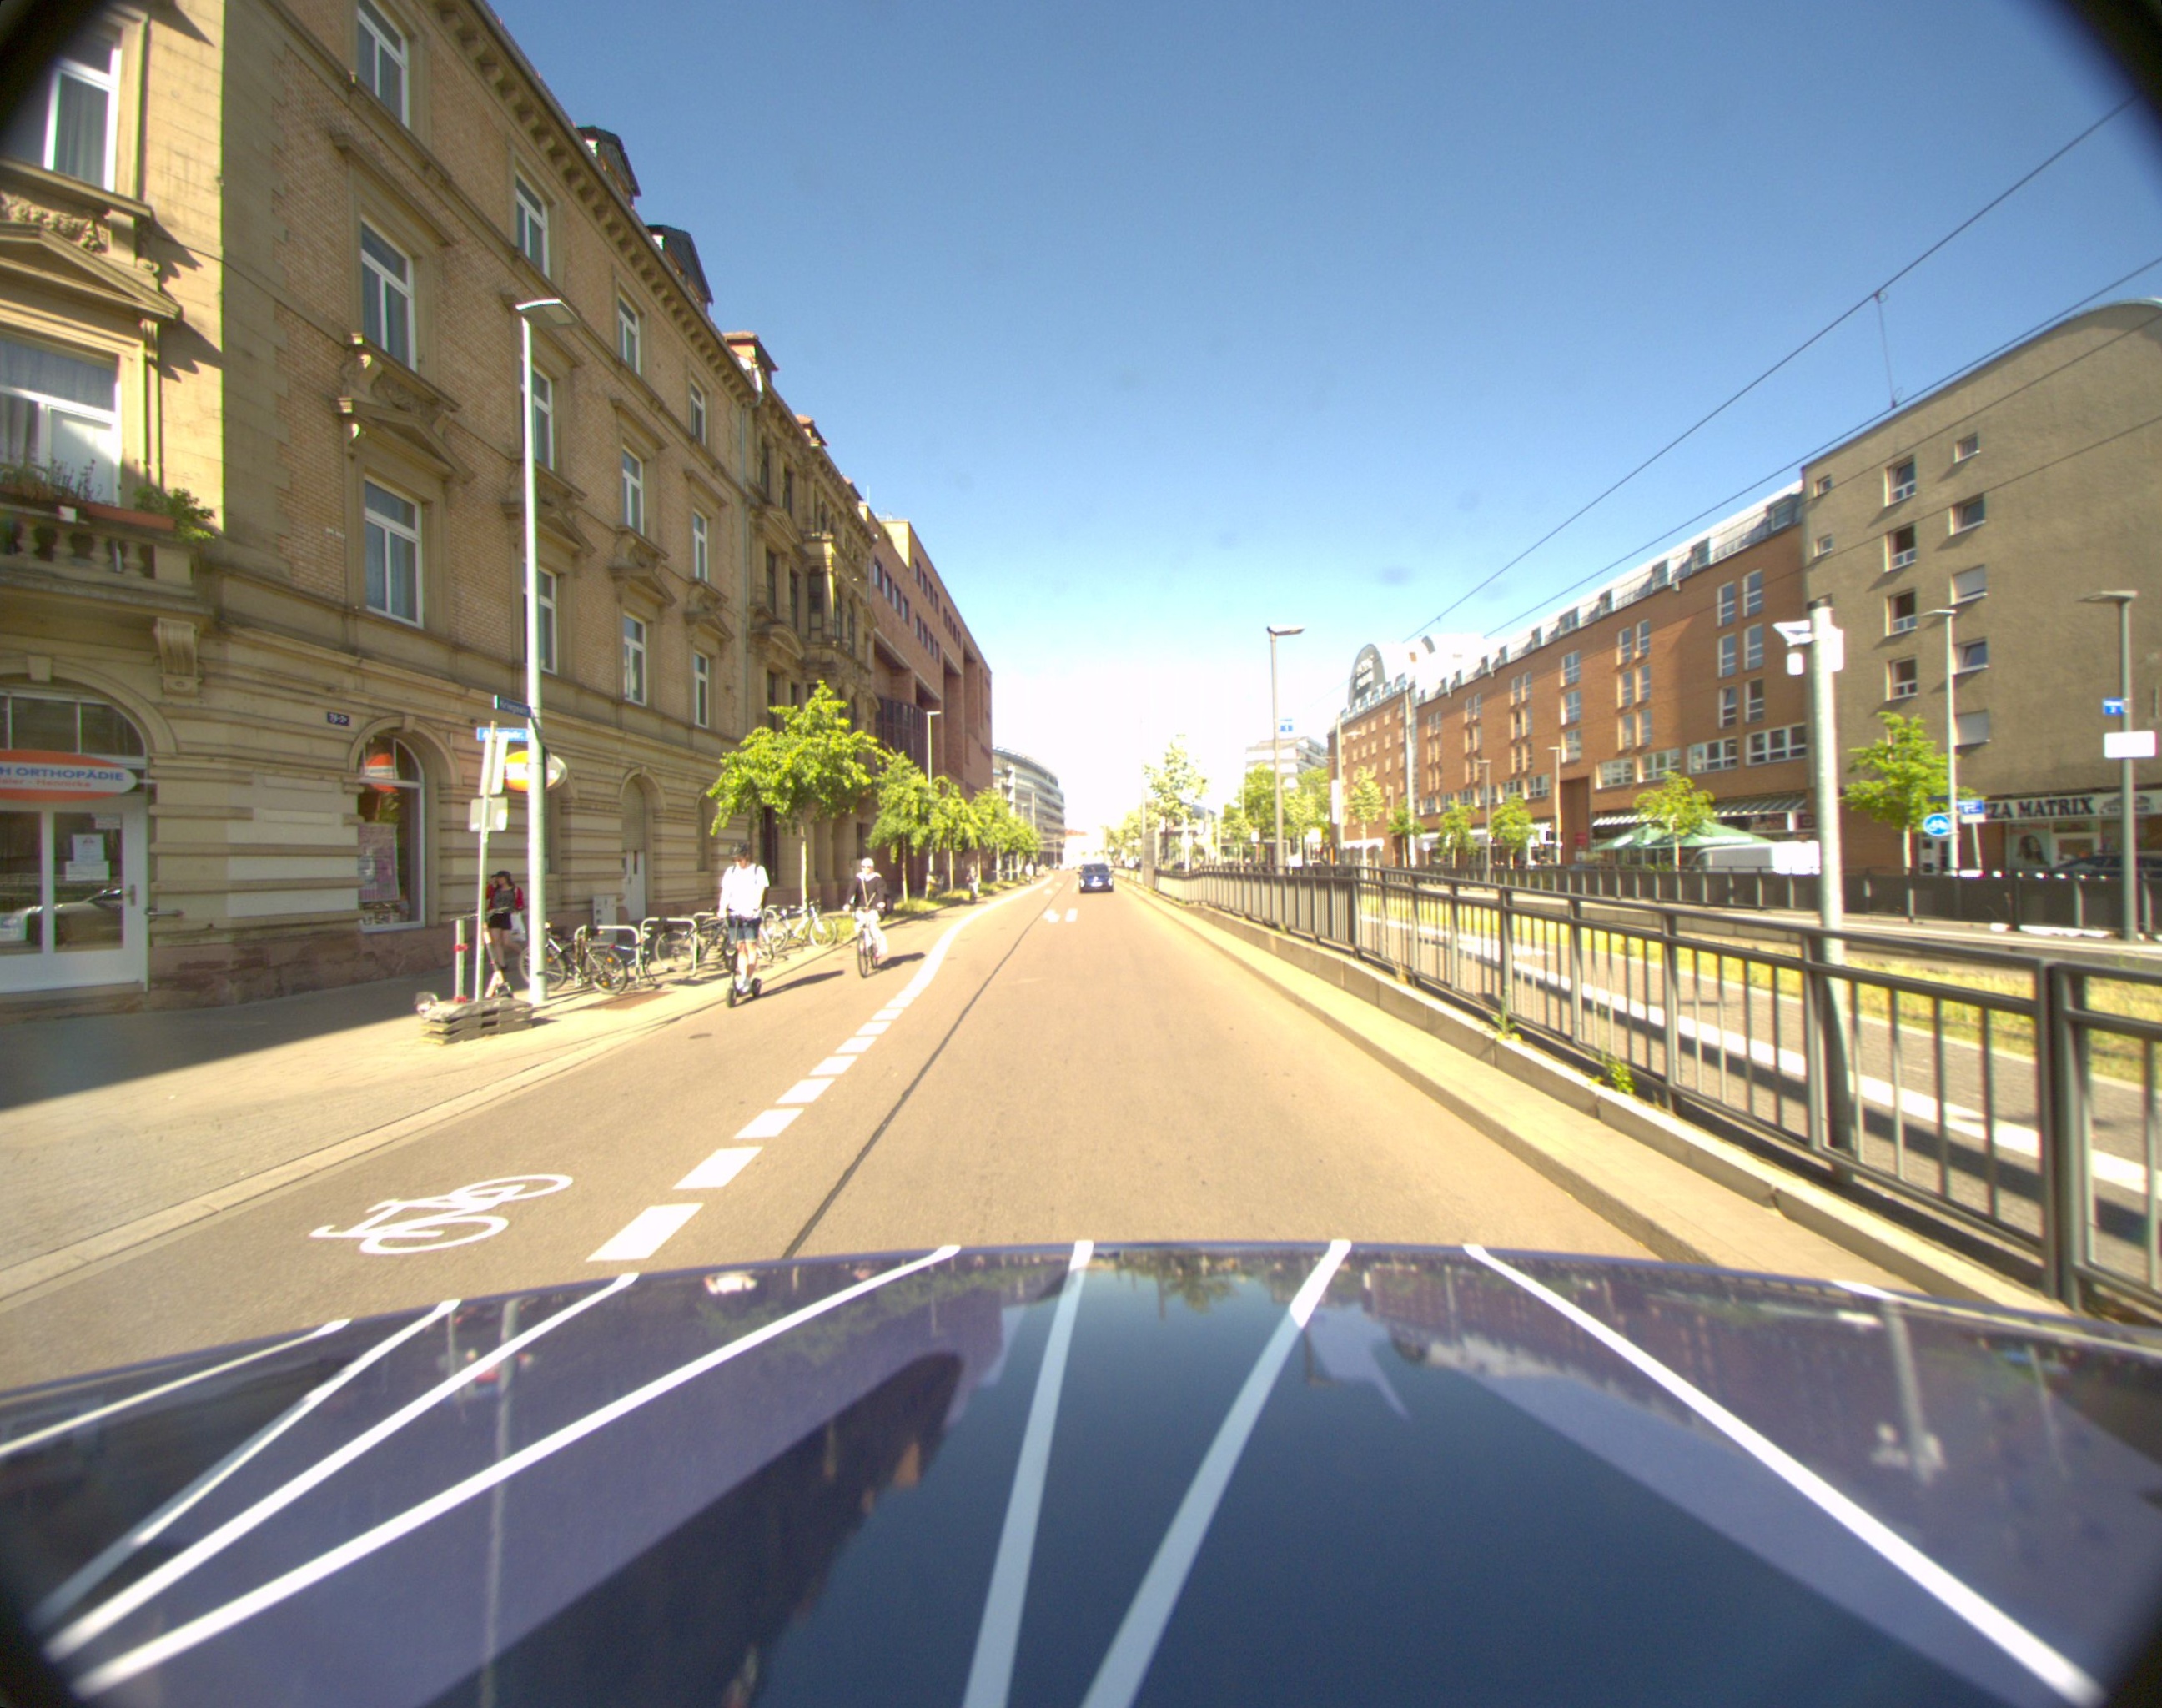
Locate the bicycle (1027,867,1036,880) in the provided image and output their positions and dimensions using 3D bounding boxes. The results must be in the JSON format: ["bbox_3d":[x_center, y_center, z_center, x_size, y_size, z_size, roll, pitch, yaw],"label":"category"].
[{"bbox_3d":[-4.387,1.697,67.406,0.578,1.090,1.507,-3,0,2],"label":"bicycle"}]

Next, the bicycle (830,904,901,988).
[{"bbox_3d":[-3.374,1.408,12.043,0.558,1.086,1.792,-3,0,0],"label":"bicycle"}]

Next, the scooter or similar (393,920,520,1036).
[{"bbox_3d":[-6.807,1.332,8.292,1.113,1.182,0.419,0,0,8],"label":"scooter or similar"}]

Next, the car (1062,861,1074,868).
[{"bbox_3d":[-2.953,2.274,171.033,2.120,1.547,4.003,-1,0,9],"label":"car"}]

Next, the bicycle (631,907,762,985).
[{"bbox_3d":[-5.970,1.415,11.835,1.727,1.094,0.607,1,0,4],"label":"bicycle"}]

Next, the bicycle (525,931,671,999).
[{"bbox_3d":[-6.566,1.499,10.365,1.673,0.816,0.607,0,0,7],"label":"bicycle"}]

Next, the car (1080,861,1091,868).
[{"bbox_3d":[1.072,2.309,170.085,1.882,1.455,4.002,-2,1,8],"label":"car"}]

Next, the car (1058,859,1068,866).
[{"bbox_3d":[-4.332,2.053,187.090,1.882,1.455,4.002,-2,1,7],"label":"car"}]

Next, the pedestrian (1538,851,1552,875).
[{"bbox_3d":[34.784,0.659,56.940,0.622,1.829,0.645,-1,0,1],"label":"pedestrian"}]

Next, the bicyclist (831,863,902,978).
[{"bbox_3d":[-3.351,1.015,11.924,0.781,1.701,0.868,-3,0,0],"label":"bicyclist"}]

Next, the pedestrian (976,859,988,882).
[{"bbox_3d":[-8.139,1.318,62.407,0.790,1.872,1.106,-1,0,0],"label":"pedestrian"}]

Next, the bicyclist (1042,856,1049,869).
[{"bbox_3d":[-4.552,1.092,96.501,0.755,1.607,0.762,-3,0,3],"label":"bicyclist"}]

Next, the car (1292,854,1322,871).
[{"bbox_3d":[23.804,0.862,80.266,1.998,1.674,4.000,-2,1,1],"label":"car"}]

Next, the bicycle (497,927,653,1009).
[{"bbox_3d":[-6.437,1.432,9.697,1.673,0.938,0.607,0,0,8],"label":"bicycle"}]

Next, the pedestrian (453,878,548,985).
[{"bbox_3d":[-8.838,1.154,11.608,0.711,1.533,0.927,-1,0,0],"label":"pedestrian"}]

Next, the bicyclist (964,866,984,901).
[{"bbox_3d":[-4.826,1.318,34.318,0.659,1.528,0.909,-3,0,0],"label":"bicyclist"}]

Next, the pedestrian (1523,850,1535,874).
[{"bbox_3d":[35.802,0.637,60.737,0.622,1.829,0.644,-1,0,-1],"label":"pedestrian"}]

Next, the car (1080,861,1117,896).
[{"bbox_3d":[0.911,1.257,40.391,1.802,1.596,4.000,-2,1,1],"label":"car"}]

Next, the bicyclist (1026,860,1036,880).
[{"bbox_3d":[-4.417,1.375,67.291,0.684,1.718,0.909,-3,0,3],"label":"bicyclist"}]

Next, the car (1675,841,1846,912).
[{"bbox_3d":[25.286,0.773,28.646,1.997,2.356,5.649,-1,0,8],"label":"car"}]

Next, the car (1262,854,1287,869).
[{"bbox_3d":[23.141,0.851,91.118,1.998,1.674,4.000,-2,1,1],"label":"car"}]

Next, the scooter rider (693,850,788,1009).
[{"bbox_3d":[-4.206,0.900,9.444,0.668,1.850,0.901,-3,0,0],"label":"scooter rider"}]

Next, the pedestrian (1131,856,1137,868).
[{"bbox_3d":[6.921,1.072,98.667,0.608,1.560,0.728,-1,0,21],"label":"pedestrian"}]

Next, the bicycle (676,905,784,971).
[{"bbox_3d":[-6.174,1.465,13.393,1.603,1.039,0.607,1,0,4],"label":"bicycle"}]

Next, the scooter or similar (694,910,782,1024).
[{"bbox_3d":[-4.212,1.356,9.413,0.492,1.219,1.170,-3,0,0],"label":"scooter or similar"}]

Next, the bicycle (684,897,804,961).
[{"bbox_3d":[-6.496,1.436,14.709,1.999,1.121,0.710,1,0,2],"label":"bicycle"}]

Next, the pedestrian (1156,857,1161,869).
[{"bbox_3d":[10.112,1.193,98.887,0.609,1.560,0.909,-1,0,9],"label":"pedestrian"}]

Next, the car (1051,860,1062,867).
[{"bbox_3d":[-5.791,2.187,178.573,1.882,1.455,4.002,-2,1,7],"label":"car"}]

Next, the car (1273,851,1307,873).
[{"bbox_3d":[18.617,0.705,67.826,1.824,1.784,4.089,-2,1,0],"label":"car"}]

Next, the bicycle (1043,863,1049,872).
[{"bbox_3d":[-4.493,1.735,96.492,0.578,1.090,1.507,-3,0,3],"label":"bicycle"}]

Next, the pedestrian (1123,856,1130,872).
[{"bbox_3d":[4.905,1.060,82.559,0.710,1.713,0.752,-1,1,-1],"label":"pedestrian"}]

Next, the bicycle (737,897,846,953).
[{"bbox_3d":[-6.082,1.491,16.077,2.001,1.086,0.846,1,0,-9],"label":"bicycle"}]

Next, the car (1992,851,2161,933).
[{"bbox_3d":[24.181,0.815,17.399,1.819,1.749,4.000,-1,0,0],"label":"car"}]

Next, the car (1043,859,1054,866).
[{"bbox_3d":[-7.273,1.994,171.452,1.882,1.455,4.002,-2,1,7],"label":"car"}]

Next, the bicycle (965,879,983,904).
[{"bbox_3d":[-4.818,1.668,34.283,0.558,1.021,1.507,-3,0,0],"label":"bicycle"}]
